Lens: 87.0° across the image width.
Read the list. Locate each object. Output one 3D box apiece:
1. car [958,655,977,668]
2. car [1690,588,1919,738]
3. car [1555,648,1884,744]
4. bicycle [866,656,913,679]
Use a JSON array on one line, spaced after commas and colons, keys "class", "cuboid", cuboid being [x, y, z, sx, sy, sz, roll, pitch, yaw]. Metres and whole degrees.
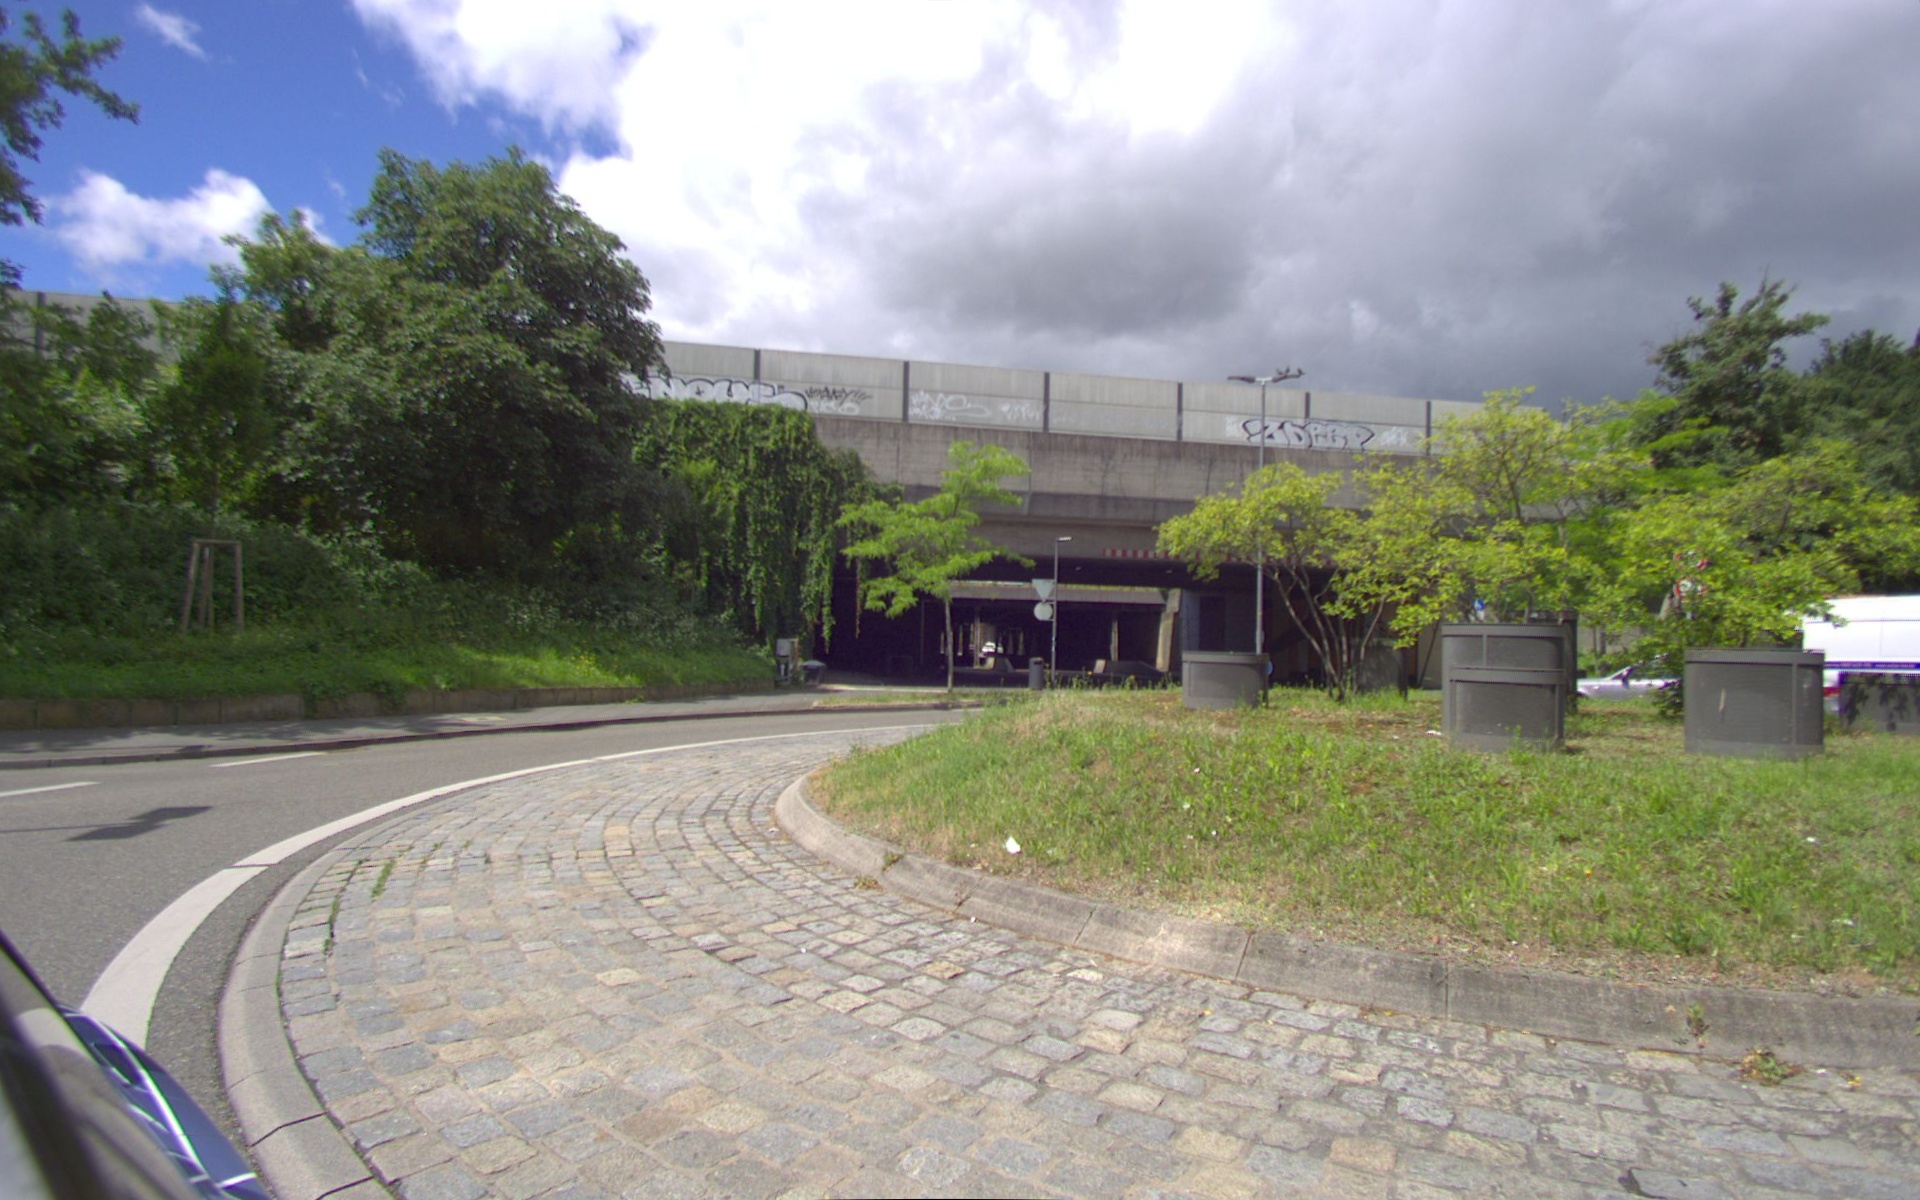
[{"class": "car", "cuboid": [0.883, 7.328, 120.080, 1.650, 1.458, 3.859, 2, -3, -9]}, {"class": "car", "cuboid": [17.479, 1.173, 19.357, 1.942, 2.627, 5.942, 0, -3, -10]}, {"class": "car", "cuboid": [12.405, 1.499, 16.794, 1.686, 1.364, 4.011, 2, -3, -33]}, {"class": "bicycle", "cuboid": [-2.953, 2.826, 42.491, 1.920, 0.911, 0.507, 2, -3, -8]}]
